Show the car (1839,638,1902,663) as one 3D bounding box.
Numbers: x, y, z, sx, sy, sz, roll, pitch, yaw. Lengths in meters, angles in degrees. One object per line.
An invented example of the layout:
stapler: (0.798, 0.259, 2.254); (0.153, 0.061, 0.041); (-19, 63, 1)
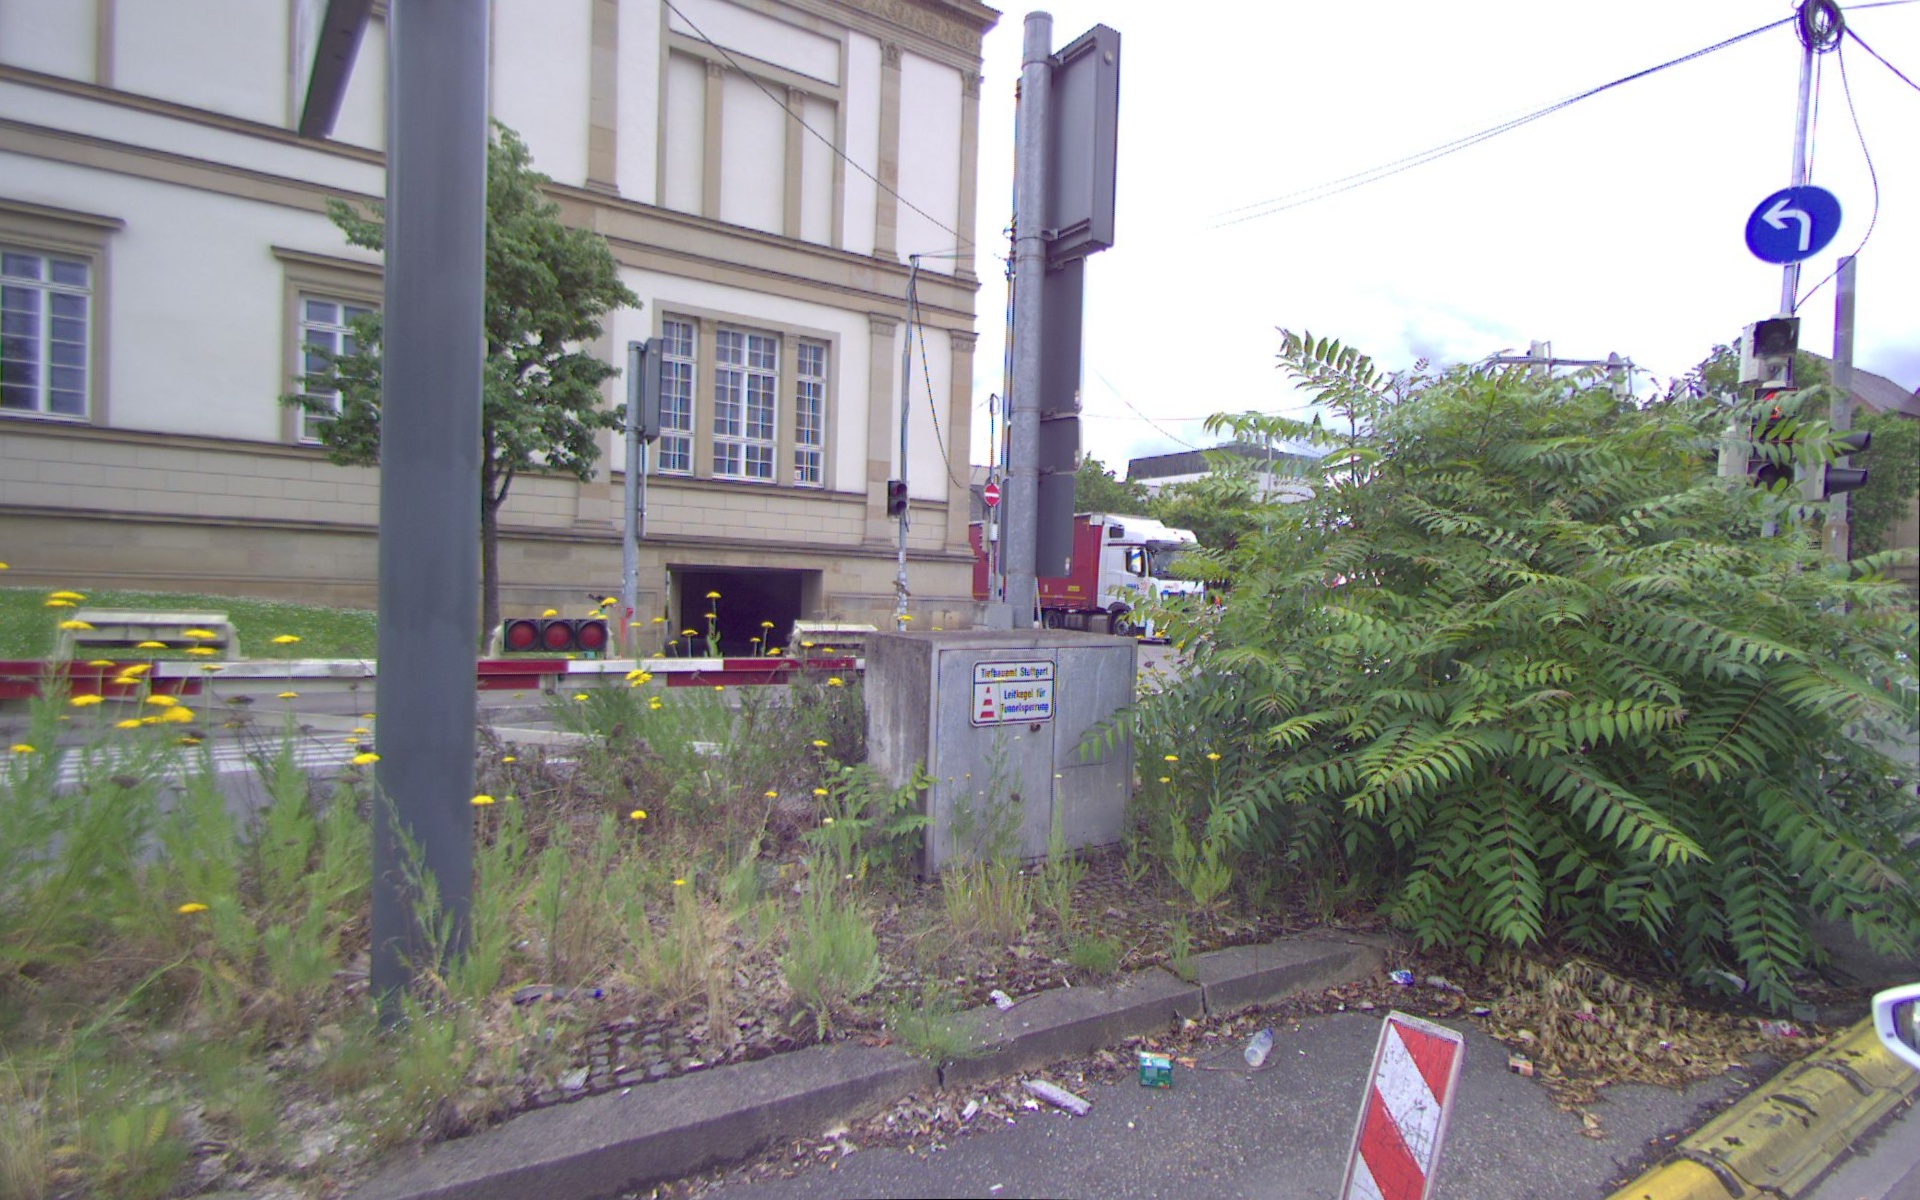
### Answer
car: (56.056, 3.130, 61.837); (3.634, 1.417, 1.670); (2, 0, -26)

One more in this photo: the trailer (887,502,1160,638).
trailer: (1.777, -1.005, 38.726); (2.916, 4.338, 13.662); (2, 0, -33)

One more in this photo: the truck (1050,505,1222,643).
truck: (5.633, -0.764, 32.742); (2.915, 4.118, 4.846); (2, 0, -34)
